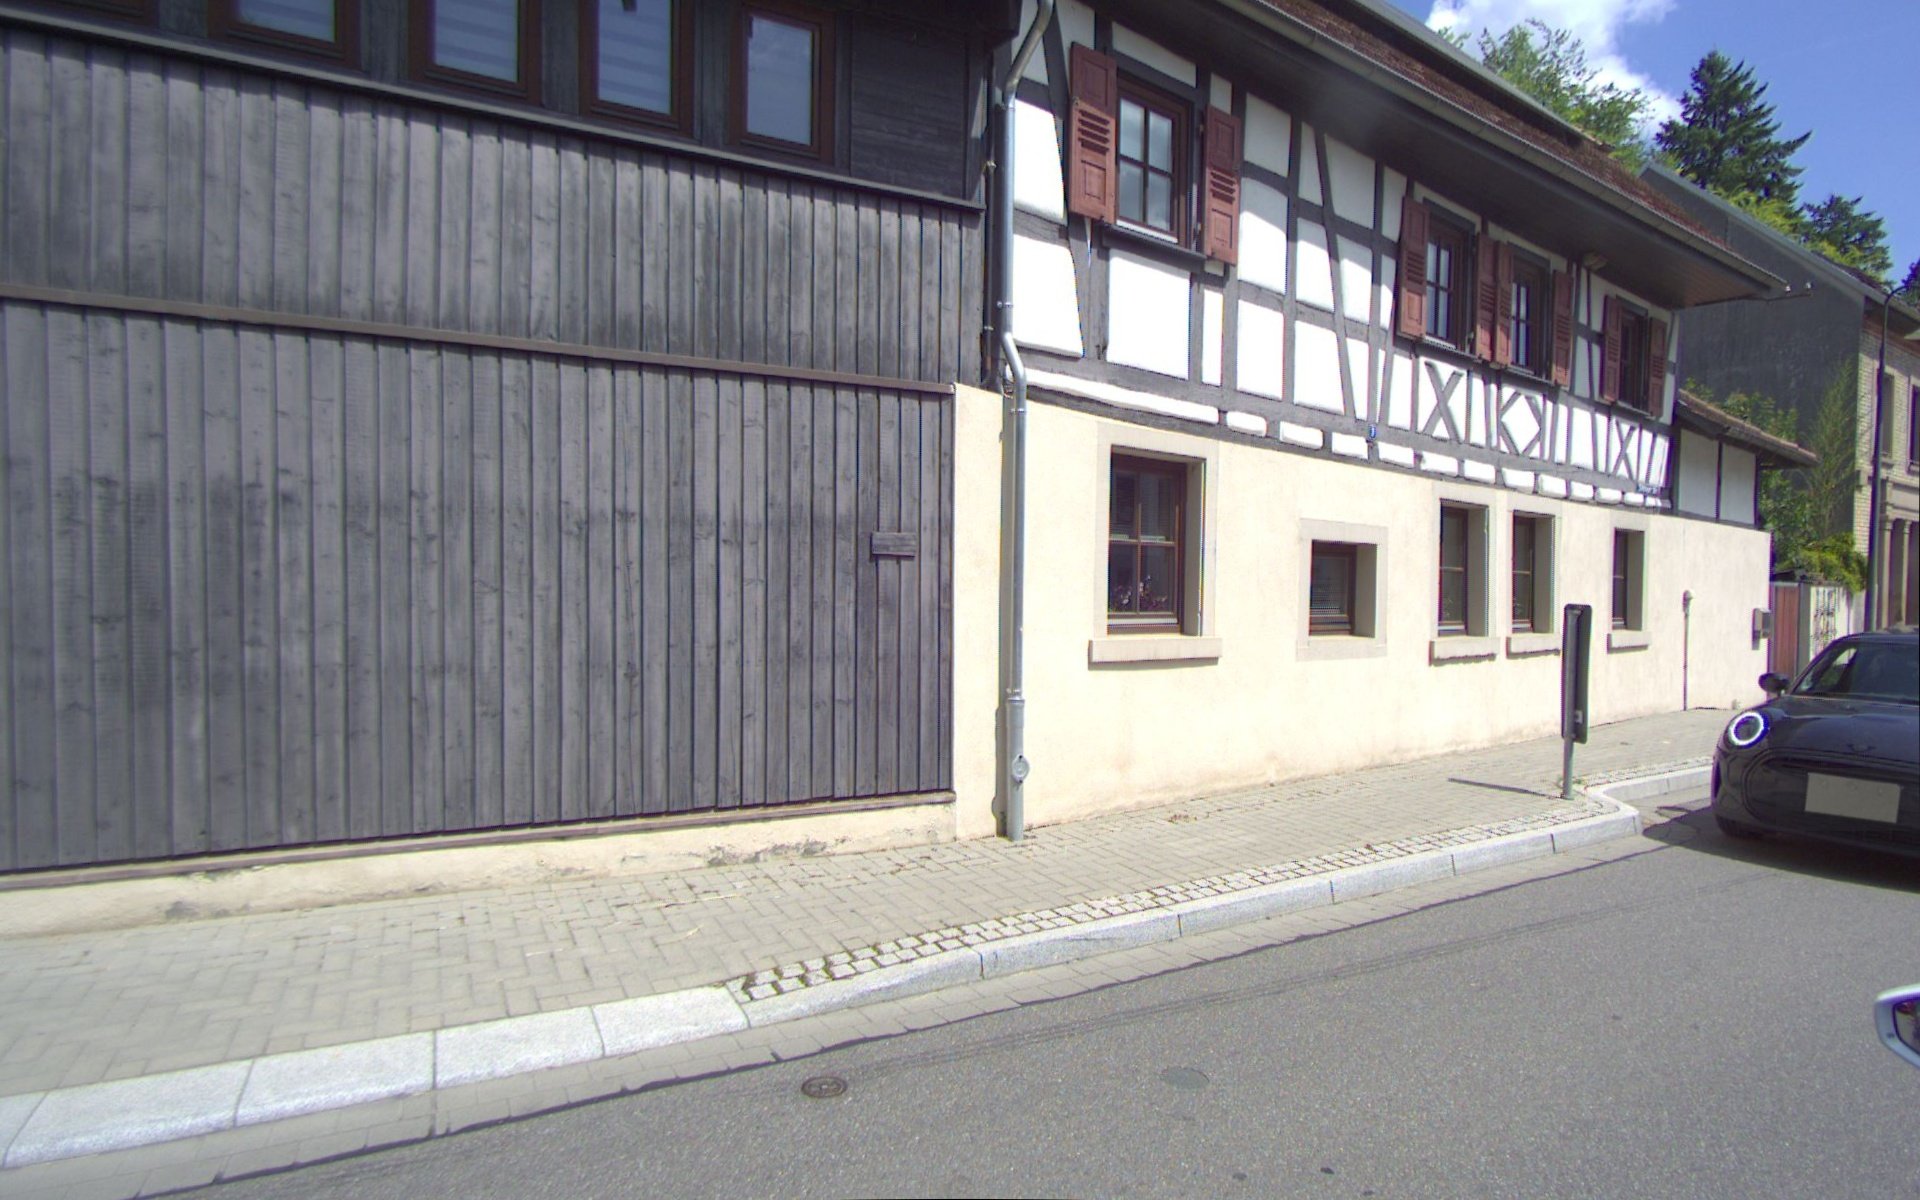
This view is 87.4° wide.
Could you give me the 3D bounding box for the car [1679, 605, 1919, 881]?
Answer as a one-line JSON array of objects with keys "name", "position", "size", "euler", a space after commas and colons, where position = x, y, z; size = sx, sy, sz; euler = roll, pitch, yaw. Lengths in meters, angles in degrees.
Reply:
[{"name": "car", "position": [6.909, 0.846, 7.024], "size": [4.391, 1.485, 1.687], "euler": [2, 0, -35]}]
